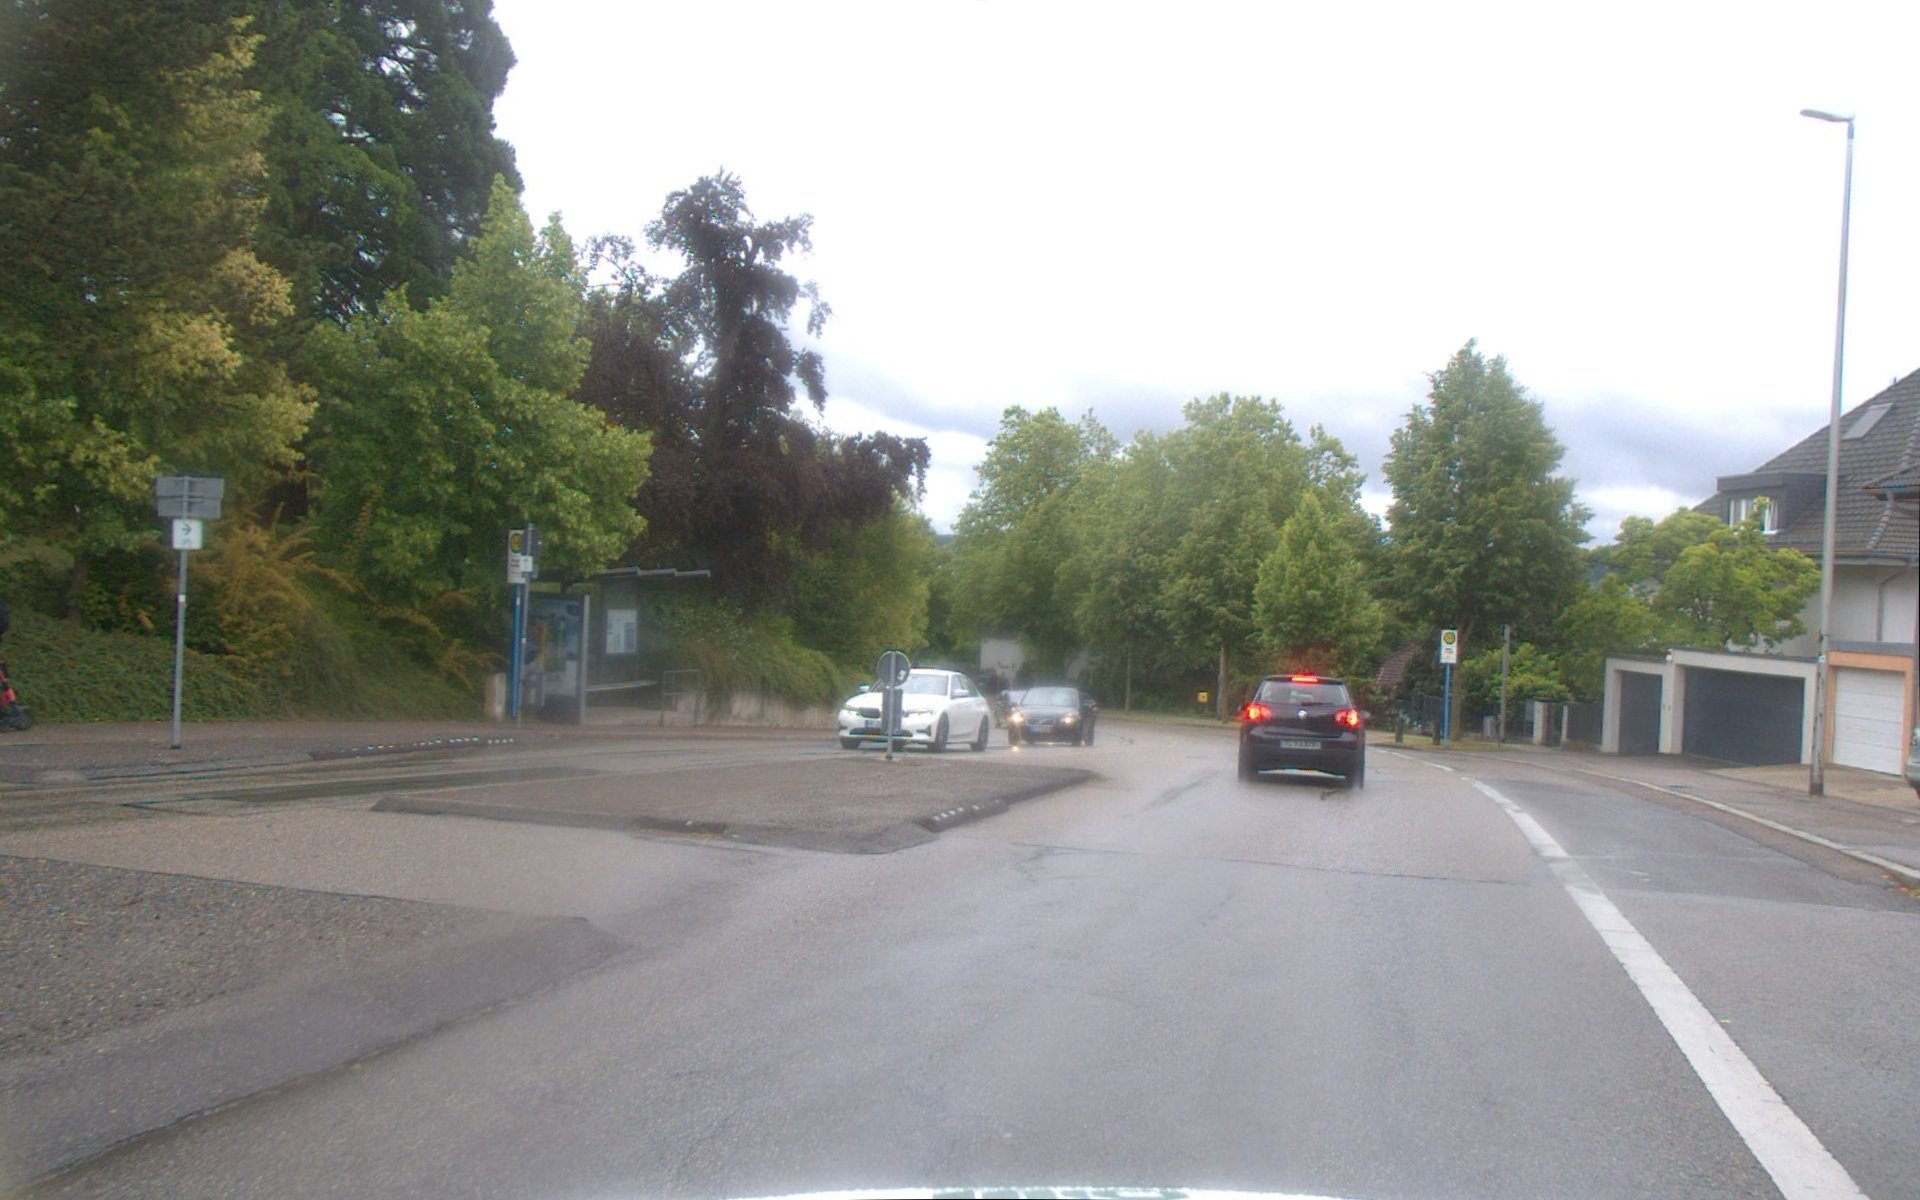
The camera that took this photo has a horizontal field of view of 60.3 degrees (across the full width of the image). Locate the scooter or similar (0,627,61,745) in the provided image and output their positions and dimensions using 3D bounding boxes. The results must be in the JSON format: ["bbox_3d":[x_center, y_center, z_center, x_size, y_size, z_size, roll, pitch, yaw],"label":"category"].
[{"bbox_3d":[-10.584,0.941,18.183,0.431,1.272,1.315,2,-1,11],"label":"scooter or similar"}]

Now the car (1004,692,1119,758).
[{"bbox_3d":[2.578,3.062,40.945,1.868,1.417,4.517,2,-3,16],"label":"car"}]

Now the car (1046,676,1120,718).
[{"bbox_3d":[6.117,4.838,82.630,2.039,1.871,3.969,2,-1,-24],"label":"car"}]

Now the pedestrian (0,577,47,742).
[{"bbox_3d":[-10.461,0.625,17.938,0.726,1.756,0.812,3,-2,-17],"label":"pedestrian"}]

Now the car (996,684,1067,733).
[{"bbox_3d":[3.034,4.645,71.169,2.030,1.871,3.986,2,-1,-13],"label":"car"}]

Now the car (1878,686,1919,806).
[{"bbox_3d":[15.450,2.170,23.497,3.816,1.660,1.899,3,-1,-7],"label":"car"}]

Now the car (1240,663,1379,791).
[{"bbox_3d":[5.028,1.792,23.868,1.727,1.565,4.002,3,-3,12],"label":"car"}]

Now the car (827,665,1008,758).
[{"bbox_3d":[-0.664,2.005,29.624,1.868,1.417,4.517,2,-3,17],"label":"car"}]

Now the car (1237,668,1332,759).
[{"bbox_3d":[7.152,2.457,36.764,1.727,1.833,4.248,1,-2,7],"label":"car"}]
